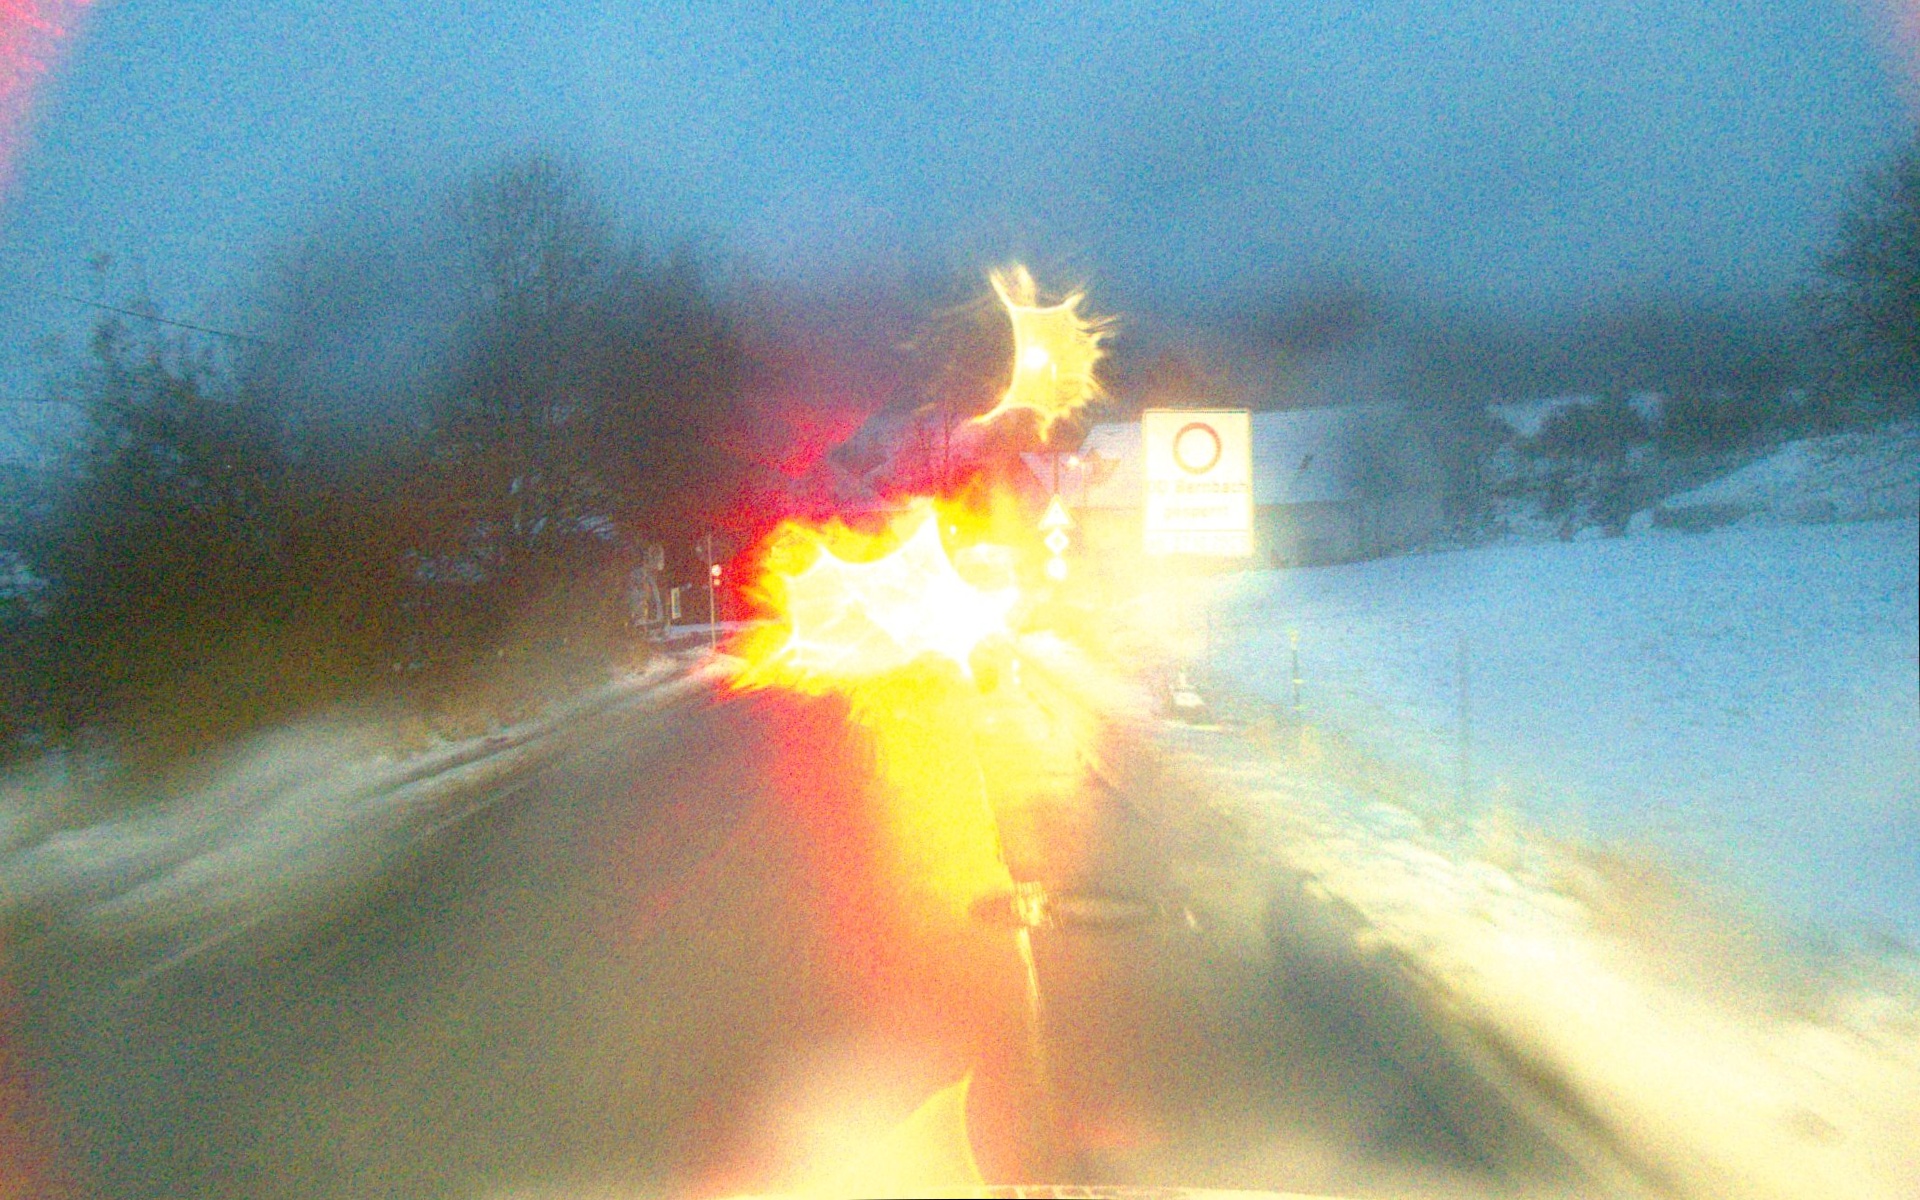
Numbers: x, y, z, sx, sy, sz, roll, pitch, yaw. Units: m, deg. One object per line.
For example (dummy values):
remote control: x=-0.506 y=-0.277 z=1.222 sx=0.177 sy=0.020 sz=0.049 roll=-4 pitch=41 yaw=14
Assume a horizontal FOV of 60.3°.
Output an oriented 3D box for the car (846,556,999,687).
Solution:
car: x=-0.655 y=0.303 z=26.885 sx=2.228 sy=1.873 sz=5.004 roll=-1 pitch=0 yaw=-2

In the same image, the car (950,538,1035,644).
car: x=1.008 y=-0.231 z=52.200 sx=2.385 sy=3.071 sz=5.325 roll=-3 pitch=-1 yaw=1
